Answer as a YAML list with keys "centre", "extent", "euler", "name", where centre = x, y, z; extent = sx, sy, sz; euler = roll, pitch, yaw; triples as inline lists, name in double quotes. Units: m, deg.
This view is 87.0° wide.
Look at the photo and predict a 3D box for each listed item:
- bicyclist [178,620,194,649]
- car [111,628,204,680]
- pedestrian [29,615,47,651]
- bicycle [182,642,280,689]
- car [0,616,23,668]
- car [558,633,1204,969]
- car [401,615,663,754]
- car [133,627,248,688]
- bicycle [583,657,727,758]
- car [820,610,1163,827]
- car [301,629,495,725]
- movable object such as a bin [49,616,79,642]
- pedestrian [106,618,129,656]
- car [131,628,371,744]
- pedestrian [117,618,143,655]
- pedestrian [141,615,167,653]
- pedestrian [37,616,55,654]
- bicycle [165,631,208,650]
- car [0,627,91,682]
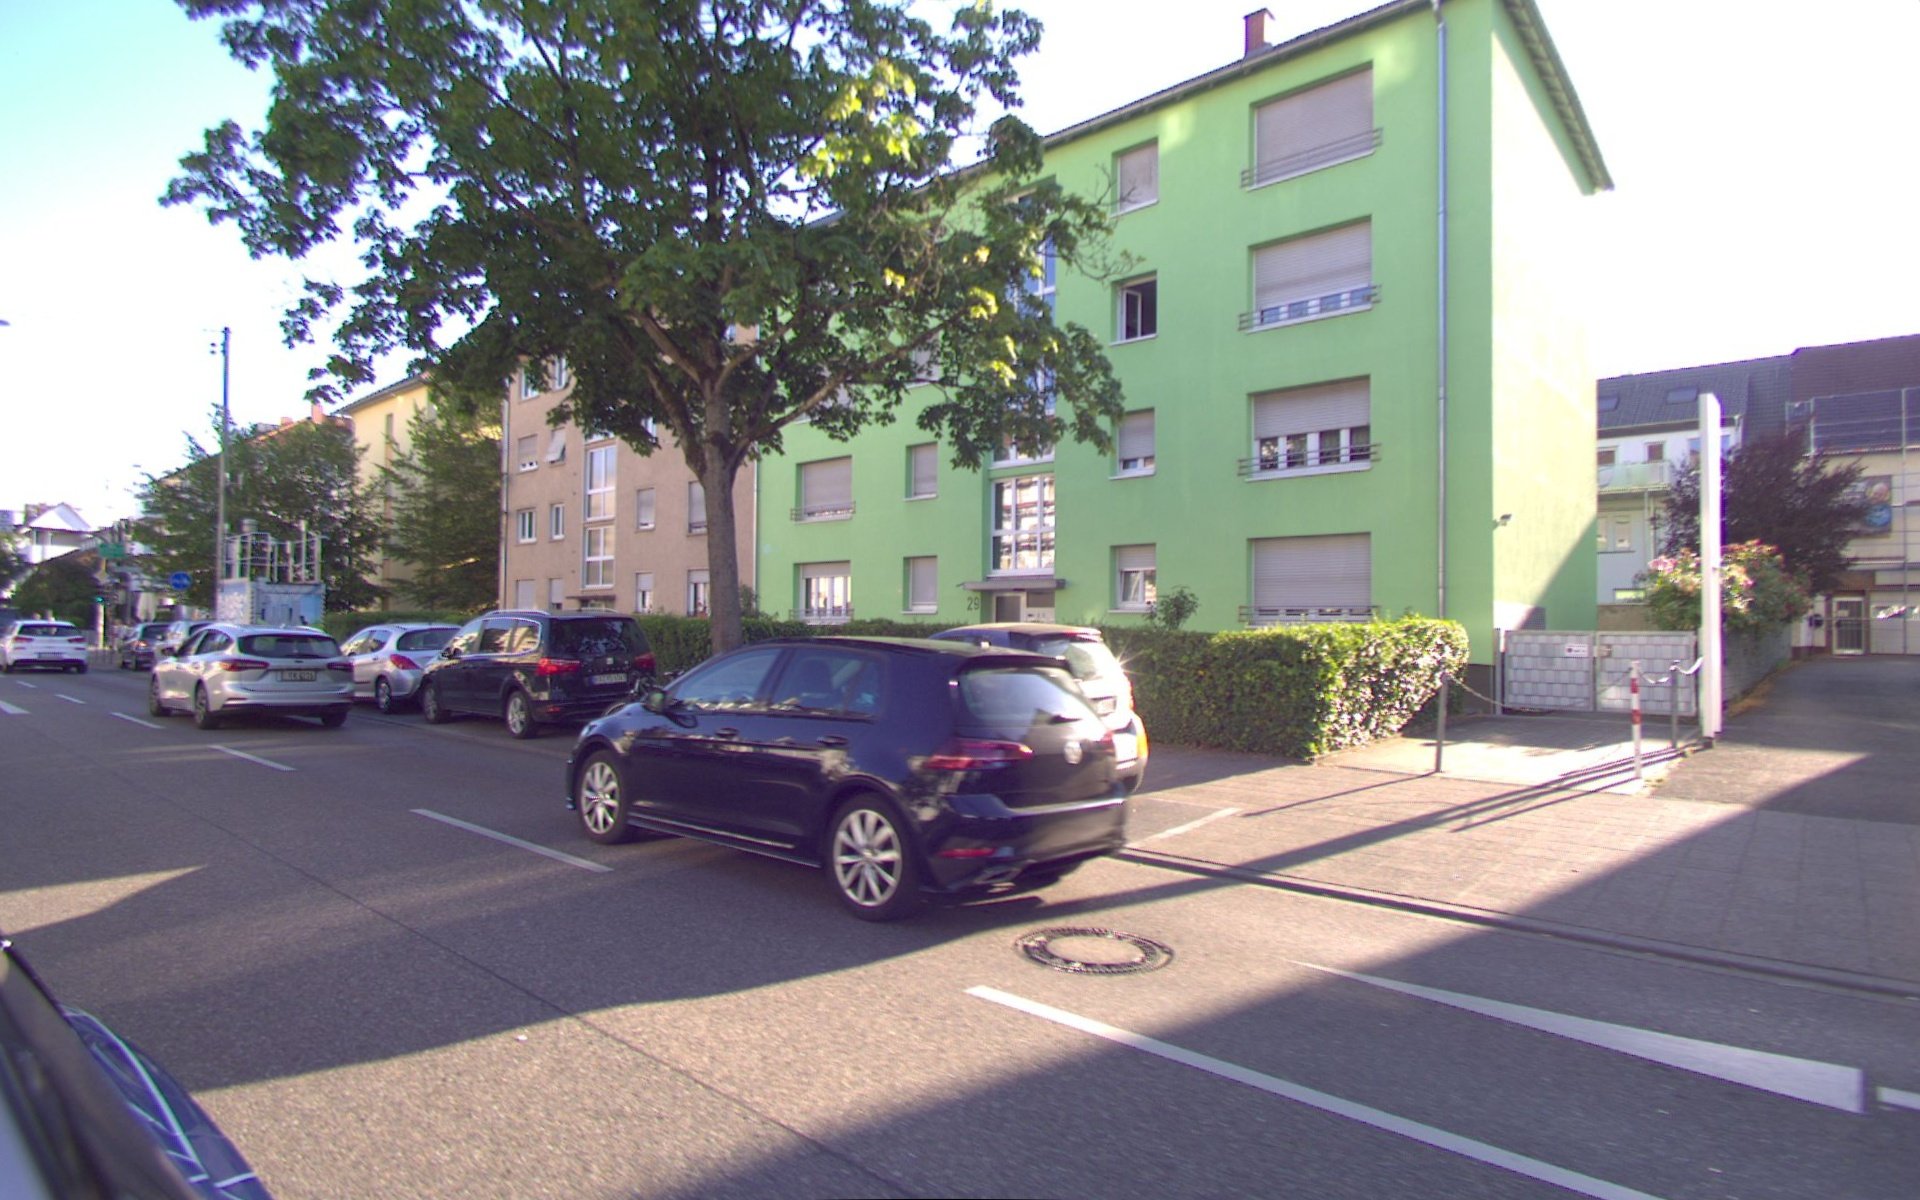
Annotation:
- centre: [-44.896, 2.023, 58.689]
  extent: [0.662, 1.666, 0.751]
  euler: [1, -3, -39]
  name: "bicyclist"
- centre: [-24.810, 1.628, 31.249]
  extent: [3.942, 1.490, 1.635]
  euler: [-1, -2, 42]
  name: "car"
- centre: [-51.693, 1.839, 56.735]
  extent: [0.739, 2.029, 0.631]
  euler: [-1, -2, 42]
  name: "pedestrian"
- centre: [-18.906, 1.676, 26.285]
  extent: [0.583, 1.097, 1.984]
  euler: [-1, 0, 42]
  name: "bicycle"
- centre: [-37.827, 1.574, 38.967]
  extent: [4.775, 1.961, 1.973]
  euler: [-1, -4, 41]
  name: "car"
- centre: [-0.701, 0.956, 6.345]
  extent: [4.025, 1.414, 1.682]
  euler: [-1, -4, 41]
  name: "car"
- centre: [-6.434, 1.113, 14.956]
  extent: [4.615, 1.746, 1.765]
  euler: [-1, -2, 42]
  name: "car"
- centre: [-21.197, 1.531, 27.834]
  extent: [3.781, 1.564, 1.621]
  euler: [-1, -2, 39]
  name: "car"
- centre: [-3.771, 1.298, 12.602]
  extent: [0.560, 1.097, 1.657]
  euler: [-2, -1, 42]
  name: "bicycle"
- centre: [0.206, 0.920, 9.137]
  extent: [2.862, 1.629, 1.482]
  euler: [-1, -2, 44]
  name: "car"
- centre: [-10.272, 1.299, 18.377]
  extent: [4.187, 1.533, 1.665]
  euler: [-1, -2, 40]
  name: "car"
- centre: [-60.584, 1.959, 68.420]
  extent: [1.180, 1.670, 1.292]
  euler: [0, 2, 41]
  name: "movable object such as a bin"
- centre: [-37.147, 1.613, 44.608]
  extent: [0.749, 1.606, 0.601]
  euler: [0, 2, 38]
  name: "pedestrian"
- centre: [-10.725, 1.211, 15.195]
  extent: [4.448, 1.482, 1.813]
  euler: [-1, -5, 40]
  name: "car"
- centre: [-37.895, 1.657, 46.185]
  extent: [0.607, 1.670, 0.741]
  euler: [-1, -2, 34]
  name: "pedestrian"
- centre: [-36.868, 1.550, 46.290]
  extent: [0.598, 1.641, 0.752]
  euler: [-2, 2, -12]
  name: "pedestrian"
- centre: [-50.421, 1.926, 55.841]
  extent: [0.814, 2.029, 0.637]
  euler: [0, 0, 42]
  name: "pedestrian"
- centre: [-44.872, 2.323, 58.699]
  extent: [1.967, 1.097, 0.729]
  euler: [1, -3, -39]
  name: "bicycle"
- centre: [-26.335, 1.525, 28.740]
  extent: [4.107, 1.457, 1.797]
  euler: [-1, -4, 40]
  name: "car"
